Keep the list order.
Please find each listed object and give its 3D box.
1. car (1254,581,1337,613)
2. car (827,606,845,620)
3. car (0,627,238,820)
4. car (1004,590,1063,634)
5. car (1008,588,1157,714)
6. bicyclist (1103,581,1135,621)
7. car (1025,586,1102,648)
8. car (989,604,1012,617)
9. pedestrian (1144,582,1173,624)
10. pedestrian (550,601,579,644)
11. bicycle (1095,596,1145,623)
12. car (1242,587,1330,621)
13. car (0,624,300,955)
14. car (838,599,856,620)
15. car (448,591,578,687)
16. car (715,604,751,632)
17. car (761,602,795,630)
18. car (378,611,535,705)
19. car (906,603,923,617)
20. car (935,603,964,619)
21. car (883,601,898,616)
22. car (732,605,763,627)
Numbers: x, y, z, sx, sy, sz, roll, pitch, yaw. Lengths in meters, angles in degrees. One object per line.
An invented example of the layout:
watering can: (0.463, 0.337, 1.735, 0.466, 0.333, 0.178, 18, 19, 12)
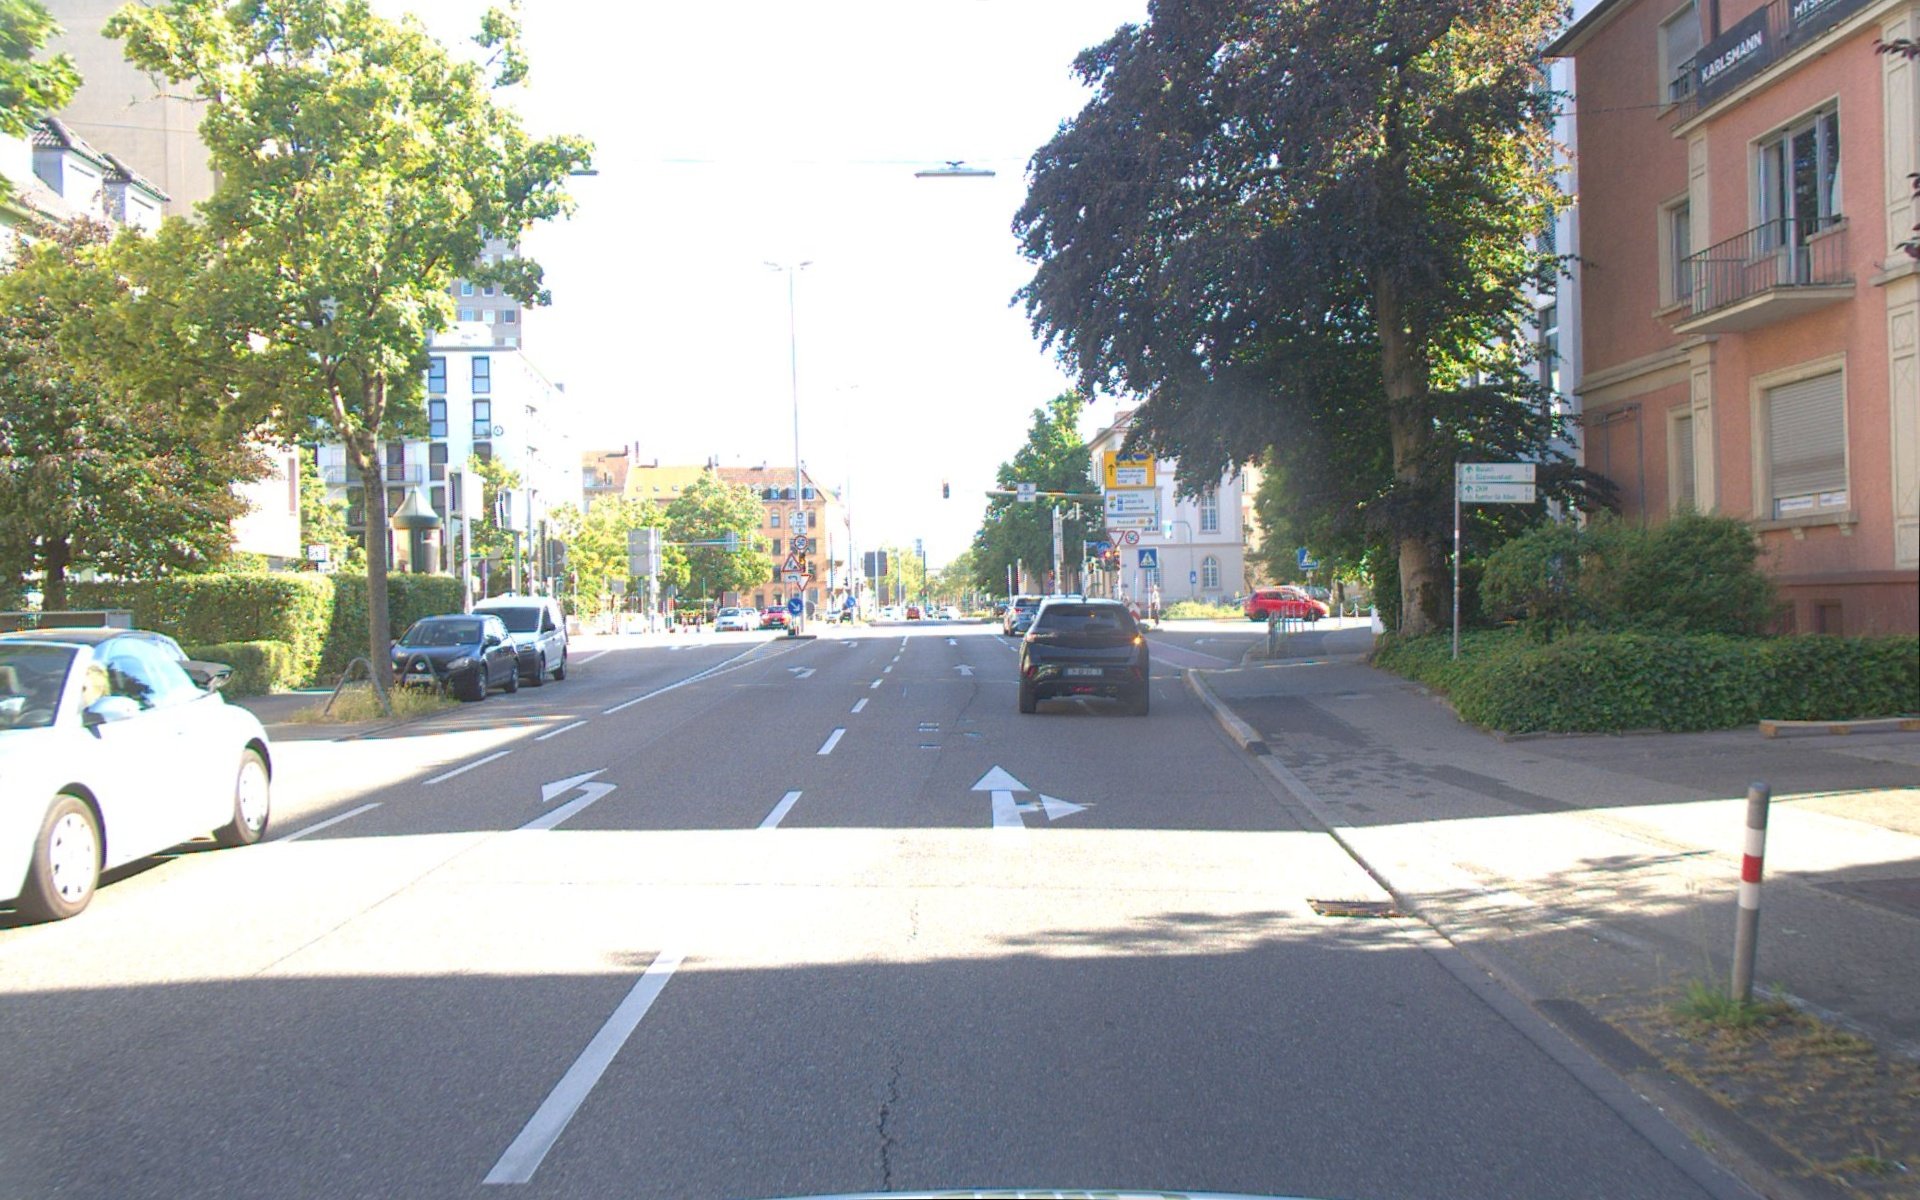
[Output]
car: (18.294, -0.168, 90.187, 4.038, 1.629, 1.819, -2, 0, -9)
car: (-14.019, 1.452, 186.473, 1.837, 1.473, 3.998, -2, 0, -2)
car: (-8.378, 1.040, 15.409, 1.733, 1.433, 4.361, -1, 1, -6)
car: (2.637, 0.414, 60.033, 1.793, 1.478, 3.986, -2, 0, -2)
car: (1.630, 0.652, 23.083, 1.710, 1.601, 3.557, 0, 0, -2)
bicyclist: (6.689, 0.053, 69.661, 1.147, 1.662, 0.726, -1, 0, -18)
car: (2.895, 0.445, 46.893, 1.793, 1.606, 3.838, -2, 0, -2)
car: (5.298, 1.380, 215.859, 1.822, 1.689, 4.000, 1, 0, 20)
pedestrian: (8.187, 0.127, 68.224, 1.021, 1.688, 0.783, -2, 0, -6)
pedestrian: (-15.661, 0.897, 65.510, 0.665, 1.678, 0.826, -2, 0, 44)
bicycle: (6.750, 0.410, 69.691, 1.999, 1.079, 0.619, -1, 0, -17)
car: (15.261, 0.181, 77.589, 3.792, 1.478, 1.778, -2, 0, 2)
car: (-5.338, 0.940, 9.418, 1.703, 1.405, 3.934, -3, 1, -3)
car: (-12.260, 0.964, 179.037, 1.774, 2.171, 3.998, -2, 0, -2)
car: (-9.413, 0.764, 35.146, 1.783, 1.866, 4.558, -1, 0, -4)
car: (-14.503, 1.116, 105.834, 1.837, 1.645, 3.998, -2, 0, -2)
car: (-11.429, 0.987, 104.189, 1.755, 1.645, 3.999, -2, 0, -2)
car: (-9.007, 0.989, 29.912, 1.637, 1.482, 4.109, -2, 0, -2)
car: (-5.063, 1.086, 183.897, 1.773, 1.431, 4.000, -2, 0, 0)
car: (-1.276, 1.308, 197.809, 2.130, 1.728, 4.000, -2, 0, 21)
car: (-8.296, 1.022, 197.529, 1.774, 1.662, 3.998, -2, 0, -2)
car: (-15.309, 1.159, 119.422, 1.837, 1.473, 3.998, -2, 0, -2)
